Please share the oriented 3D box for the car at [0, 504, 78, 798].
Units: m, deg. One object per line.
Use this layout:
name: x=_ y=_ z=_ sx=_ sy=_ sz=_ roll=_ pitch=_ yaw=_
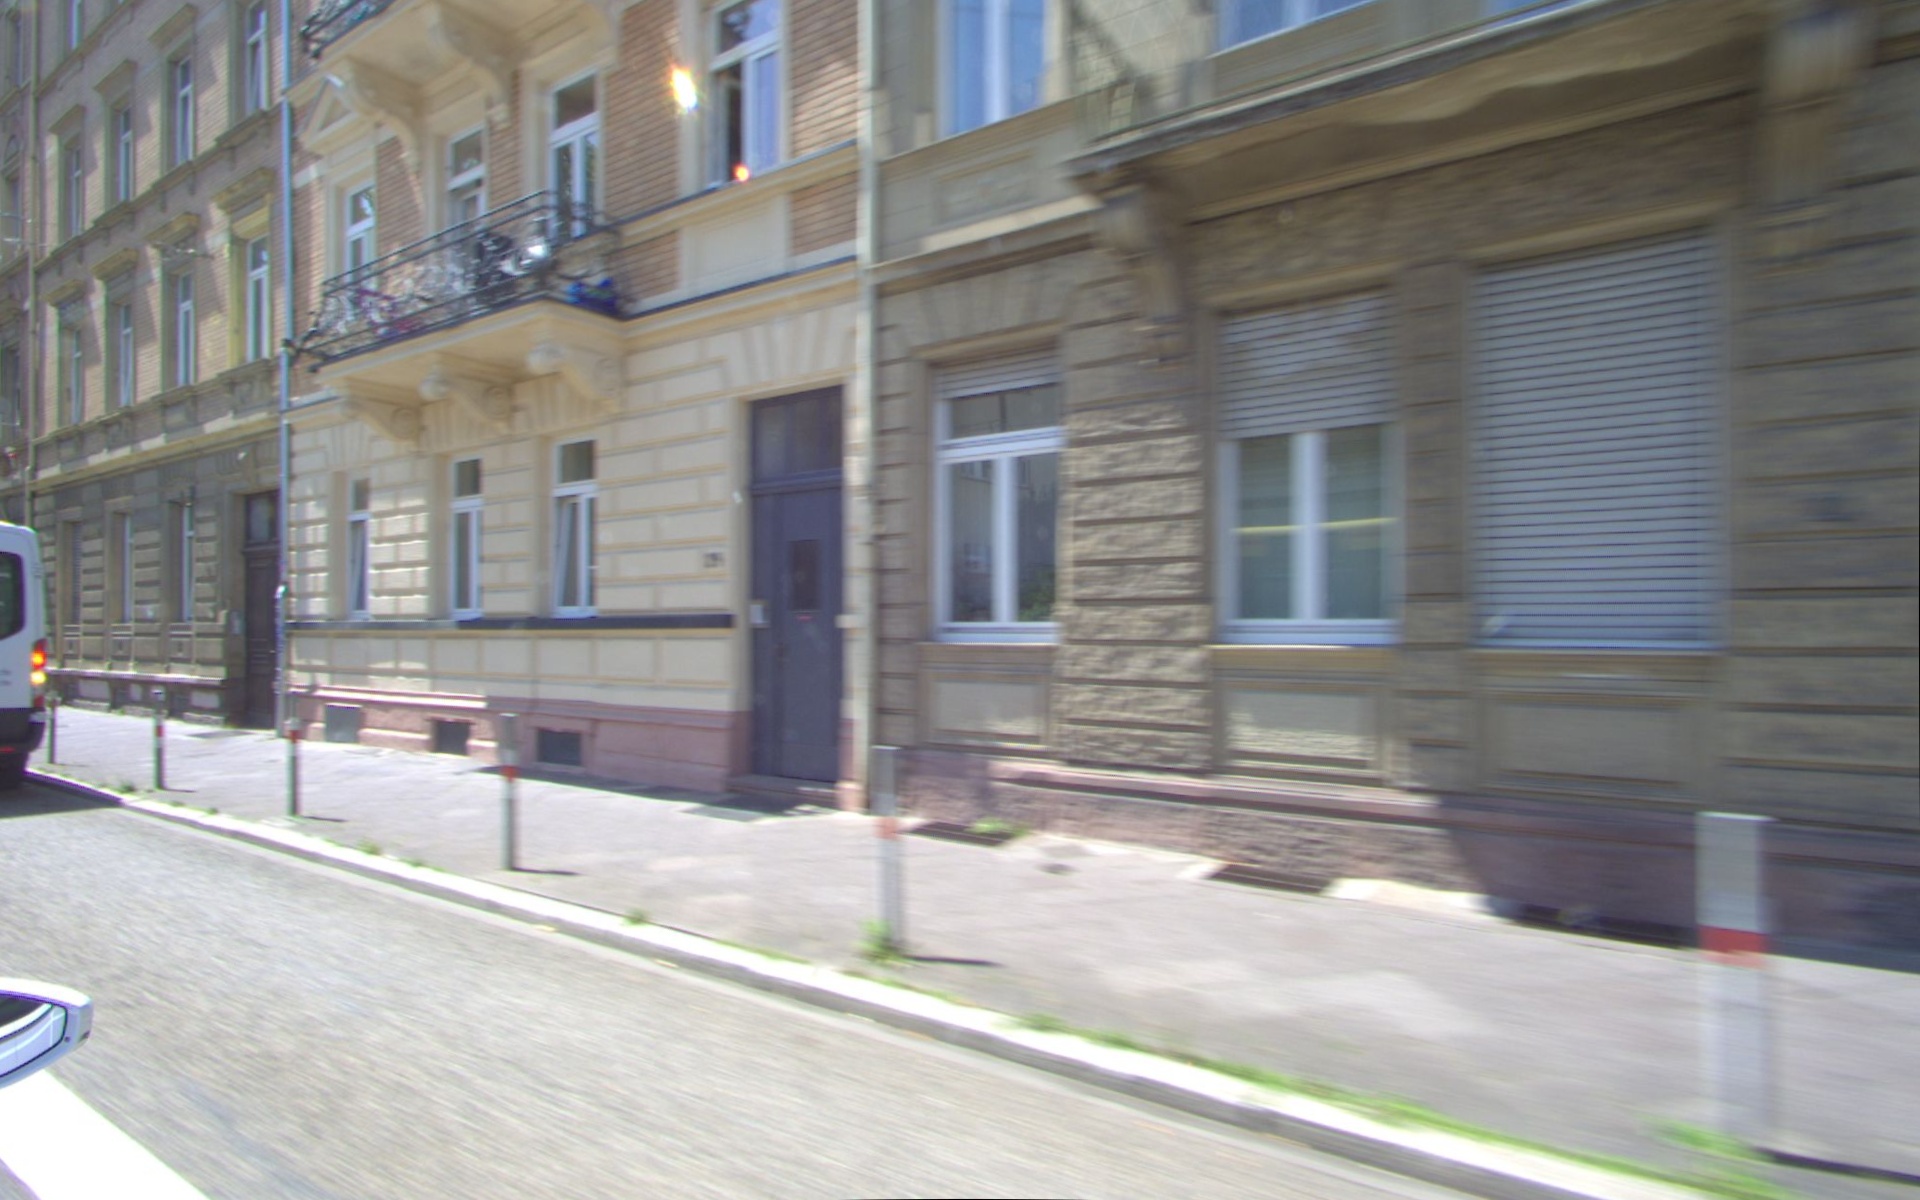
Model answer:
car: x=-10.787 y=0.454 z=9.762 sx=5.381 sy=2.532 sz=2.062 roll=-1 pitch=-2 yaw=35
